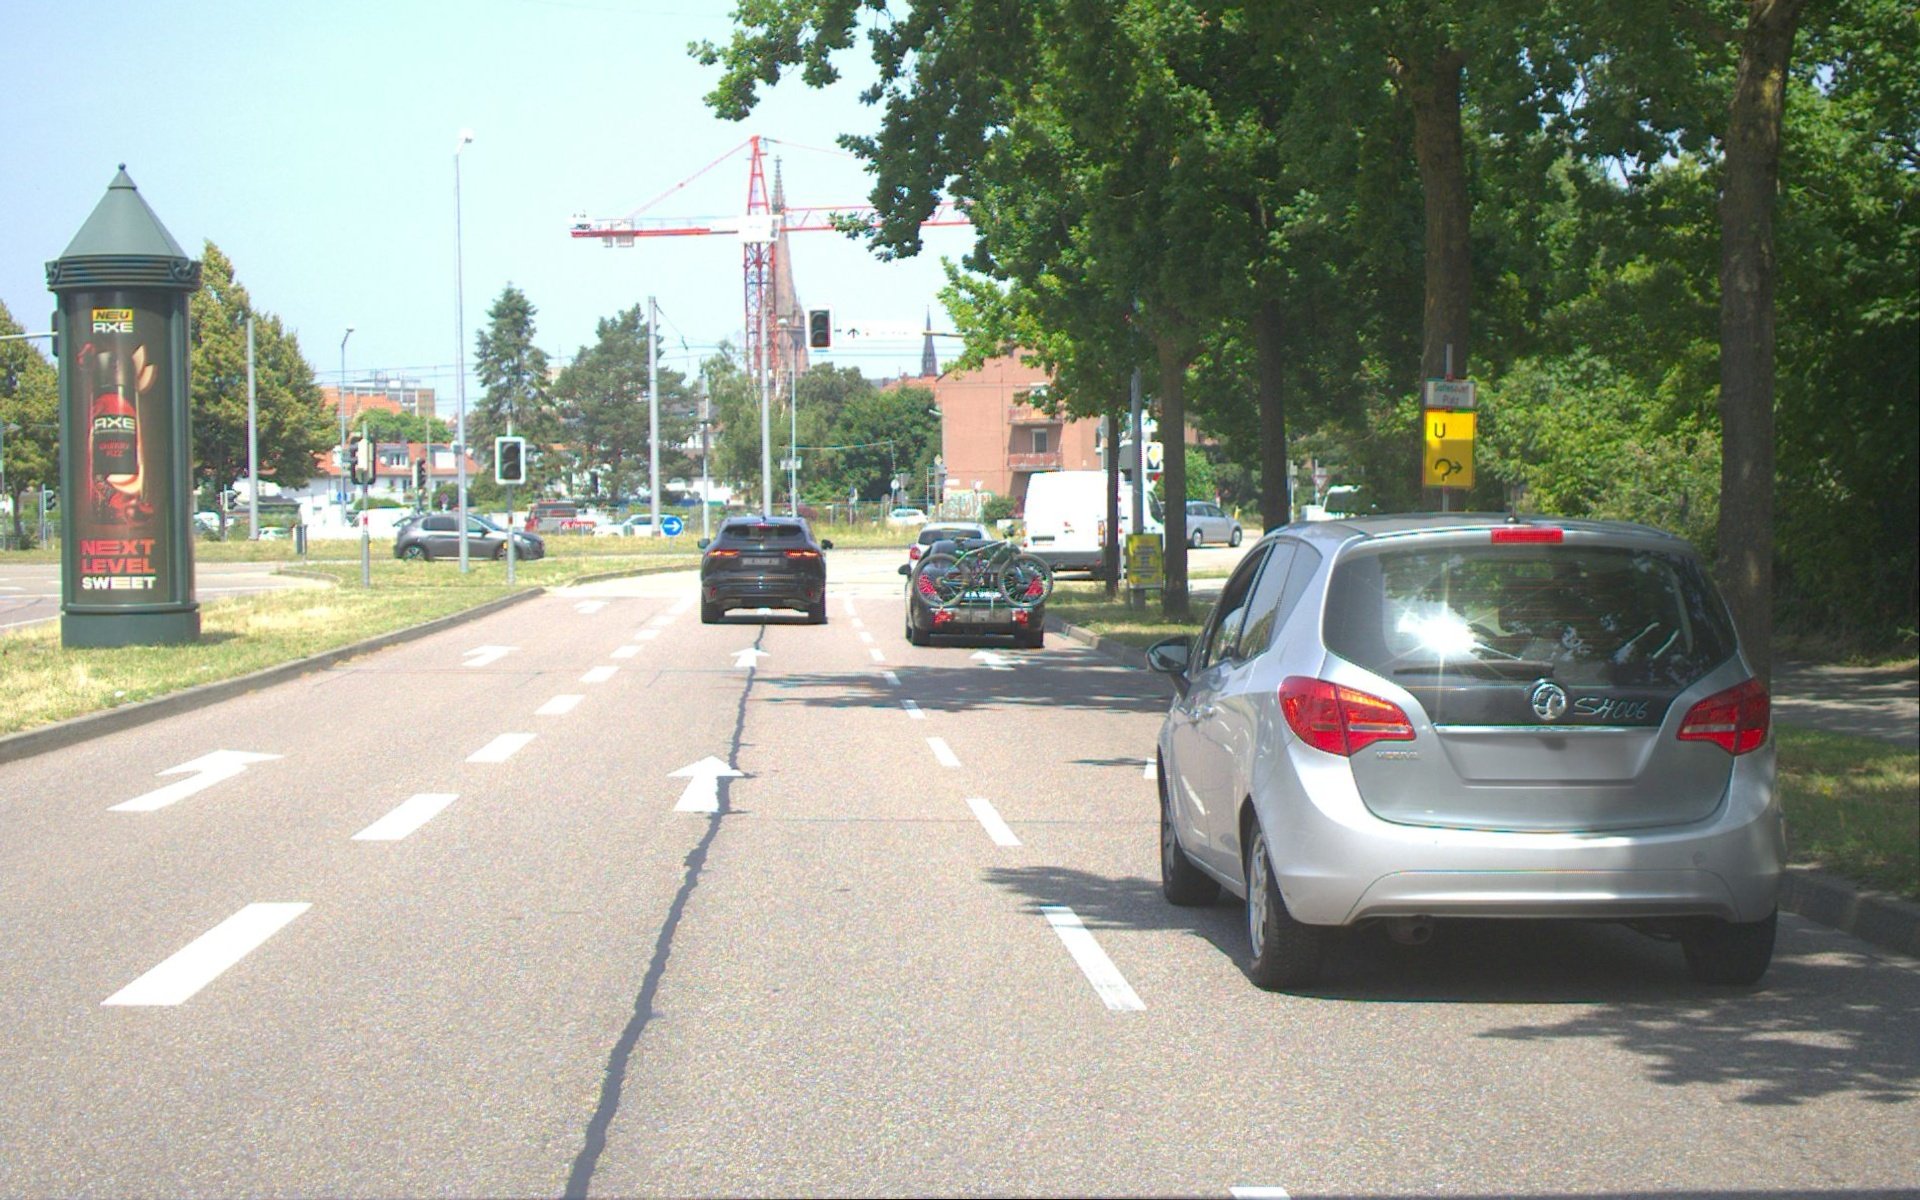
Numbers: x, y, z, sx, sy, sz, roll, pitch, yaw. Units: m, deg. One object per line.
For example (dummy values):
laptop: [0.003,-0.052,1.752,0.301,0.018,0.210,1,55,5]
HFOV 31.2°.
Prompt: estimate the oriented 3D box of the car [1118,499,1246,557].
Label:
car: [6.730,-2.186,103.850,1.944,1.687,3.911,0,2,39]

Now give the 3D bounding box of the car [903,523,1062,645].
car: [0.257,-0.255,46.241,2.014,1.512,4.461,-1,2,-1]

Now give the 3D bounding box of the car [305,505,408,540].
car: [-25.910,-3.321,147.643,3.987,1.459,2.000,-1,1,5]

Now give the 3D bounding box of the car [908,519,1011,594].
car: [-0.044,-0.854,65.528,1.654,1.351,4.461,-1,2,-4]

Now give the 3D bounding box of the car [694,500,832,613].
car: [-3.055,-0.716,53.961,1.998,1.683,4.034,0,2,-1]

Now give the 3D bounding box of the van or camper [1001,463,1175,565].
van or camper: [3.067,-2.034,80.848,2.496,2.283,4.915,0,2,23]

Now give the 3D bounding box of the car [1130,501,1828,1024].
car: [1.709,0.448,12.586,1.792,1.606,3.891,0,2,-3]

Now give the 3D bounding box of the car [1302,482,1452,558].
car: [11.402,-2.198,93.830,3.990,2.007,1.999,-2,2,-45]

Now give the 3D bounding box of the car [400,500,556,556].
car: [-13.071,-1.963,93.445,3.986,1.448,2.000,-1,1,-1]
